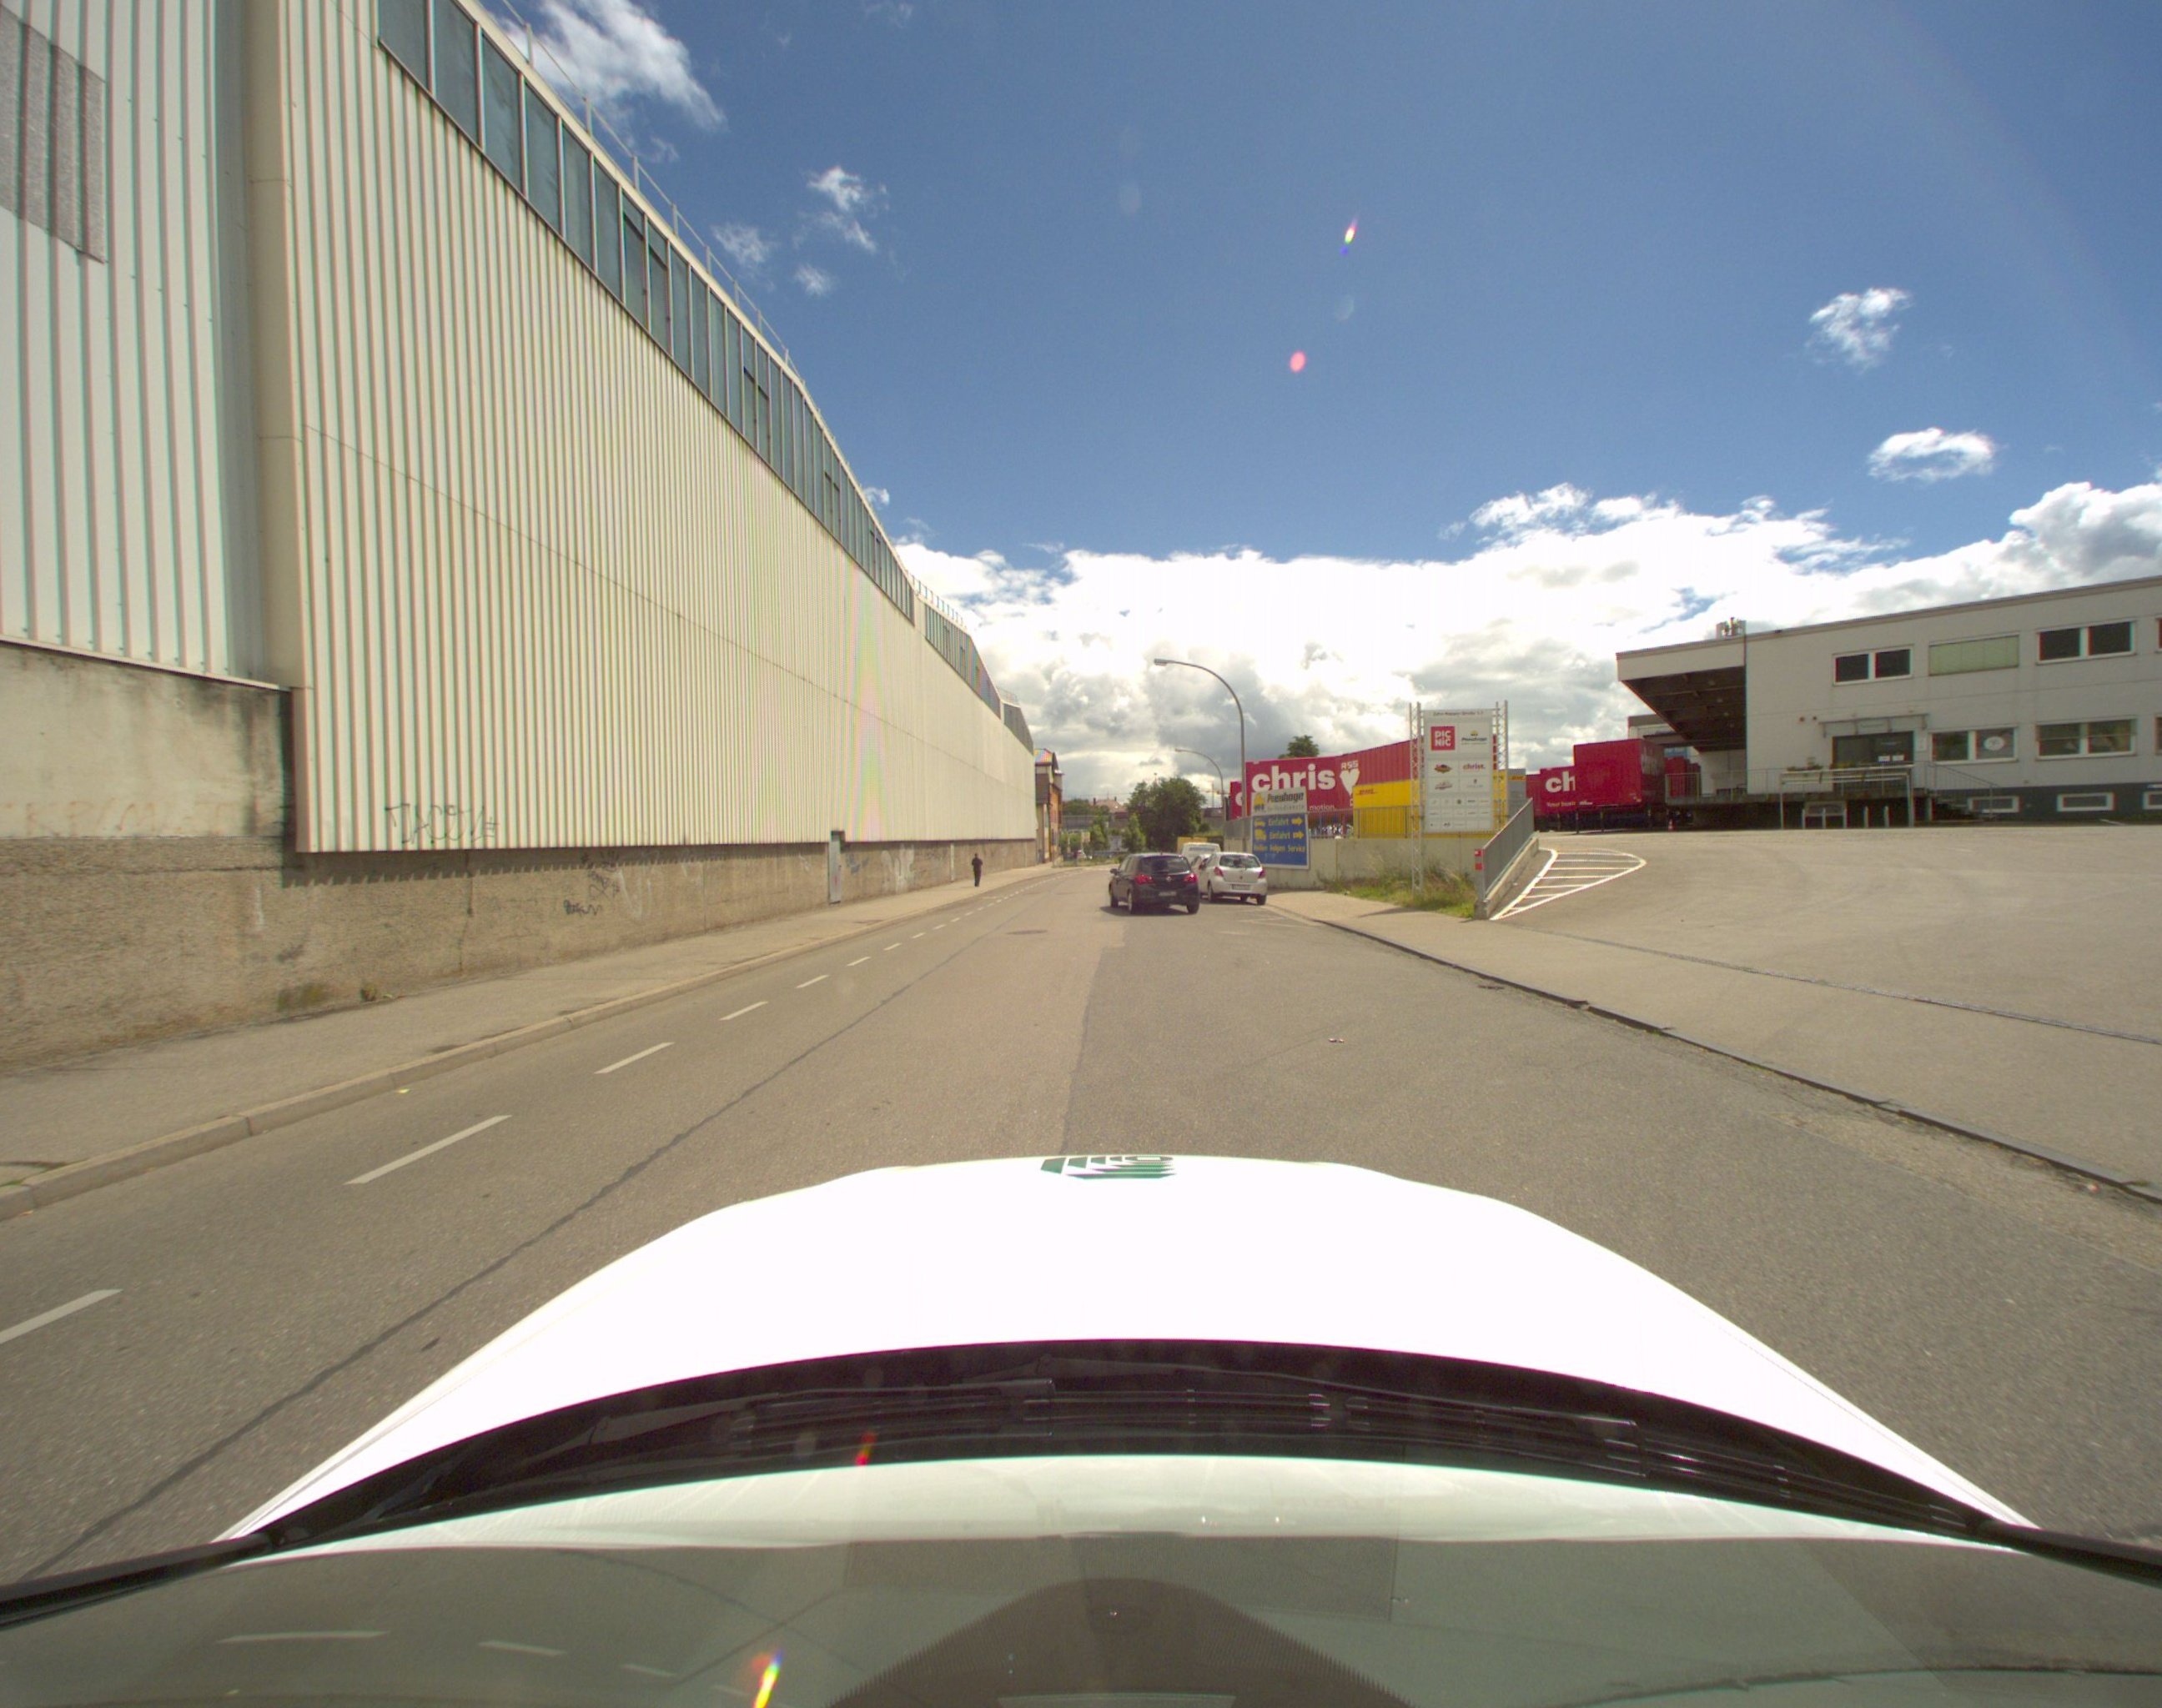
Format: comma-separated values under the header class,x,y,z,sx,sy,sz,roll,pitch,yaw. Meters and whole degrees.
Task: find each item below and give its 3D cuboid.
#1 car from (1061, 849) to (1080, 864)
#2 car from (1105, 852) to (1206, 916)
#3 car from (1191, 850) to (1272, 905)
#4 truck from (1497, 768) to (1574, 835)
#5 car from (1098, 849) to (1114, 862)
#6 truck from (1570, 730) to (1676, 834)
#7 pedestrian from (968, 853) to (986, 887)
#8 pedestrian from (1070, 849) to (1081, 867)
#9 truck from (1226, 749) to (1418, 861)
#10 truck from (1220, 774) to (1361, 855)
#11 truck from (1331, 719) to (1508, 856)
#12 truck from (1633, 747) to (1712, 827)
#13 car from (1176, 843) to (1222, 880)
class,x,y,z,sx,sy,sz,roll,pitch,yaw
car,-1.159,0.300,92.185,1.846,1.486,4.001,-1,-2,2
car,1.816,0.701,20.928,1.701,1.447,3.782,-1,0,-9
car,4.555,0.659,25.169,1.696,1.527,3.736,2,0,-1
truck,32.739,-3.615,58.516,2.961,4.060,8.529,-3,-3,41
car,3.184,0.260,103.650,1.846,1.486,4.001,-1,-2,2
truck,26.149,-3.197,39.083,2.961,4.060,8.529,-3,-3,41
pedestrian,-5.017,0.770,39.332,0.709,1.638,0.778,-1,-2,4
pedestrian,-0.480,0.390,75.556,0.849,1.663,0.861,-1,-2,6
truck,11.444,-2.161,38.841,8.375,4.671,2.596,-2,-2,23
truck,13.290,-2.421,52.024,8.392,4.671,2.591,-2,-2,12
truck,12.942,-2.302,32.130,2.574,4.449,7.835,-1,-2,-9
truck,36.518,-3.928,50.143,2.961,4.060,8.529,-3,-3,41
car,5.158,0.313,35.927,1.694,1.527,3.742,-1,0,4
